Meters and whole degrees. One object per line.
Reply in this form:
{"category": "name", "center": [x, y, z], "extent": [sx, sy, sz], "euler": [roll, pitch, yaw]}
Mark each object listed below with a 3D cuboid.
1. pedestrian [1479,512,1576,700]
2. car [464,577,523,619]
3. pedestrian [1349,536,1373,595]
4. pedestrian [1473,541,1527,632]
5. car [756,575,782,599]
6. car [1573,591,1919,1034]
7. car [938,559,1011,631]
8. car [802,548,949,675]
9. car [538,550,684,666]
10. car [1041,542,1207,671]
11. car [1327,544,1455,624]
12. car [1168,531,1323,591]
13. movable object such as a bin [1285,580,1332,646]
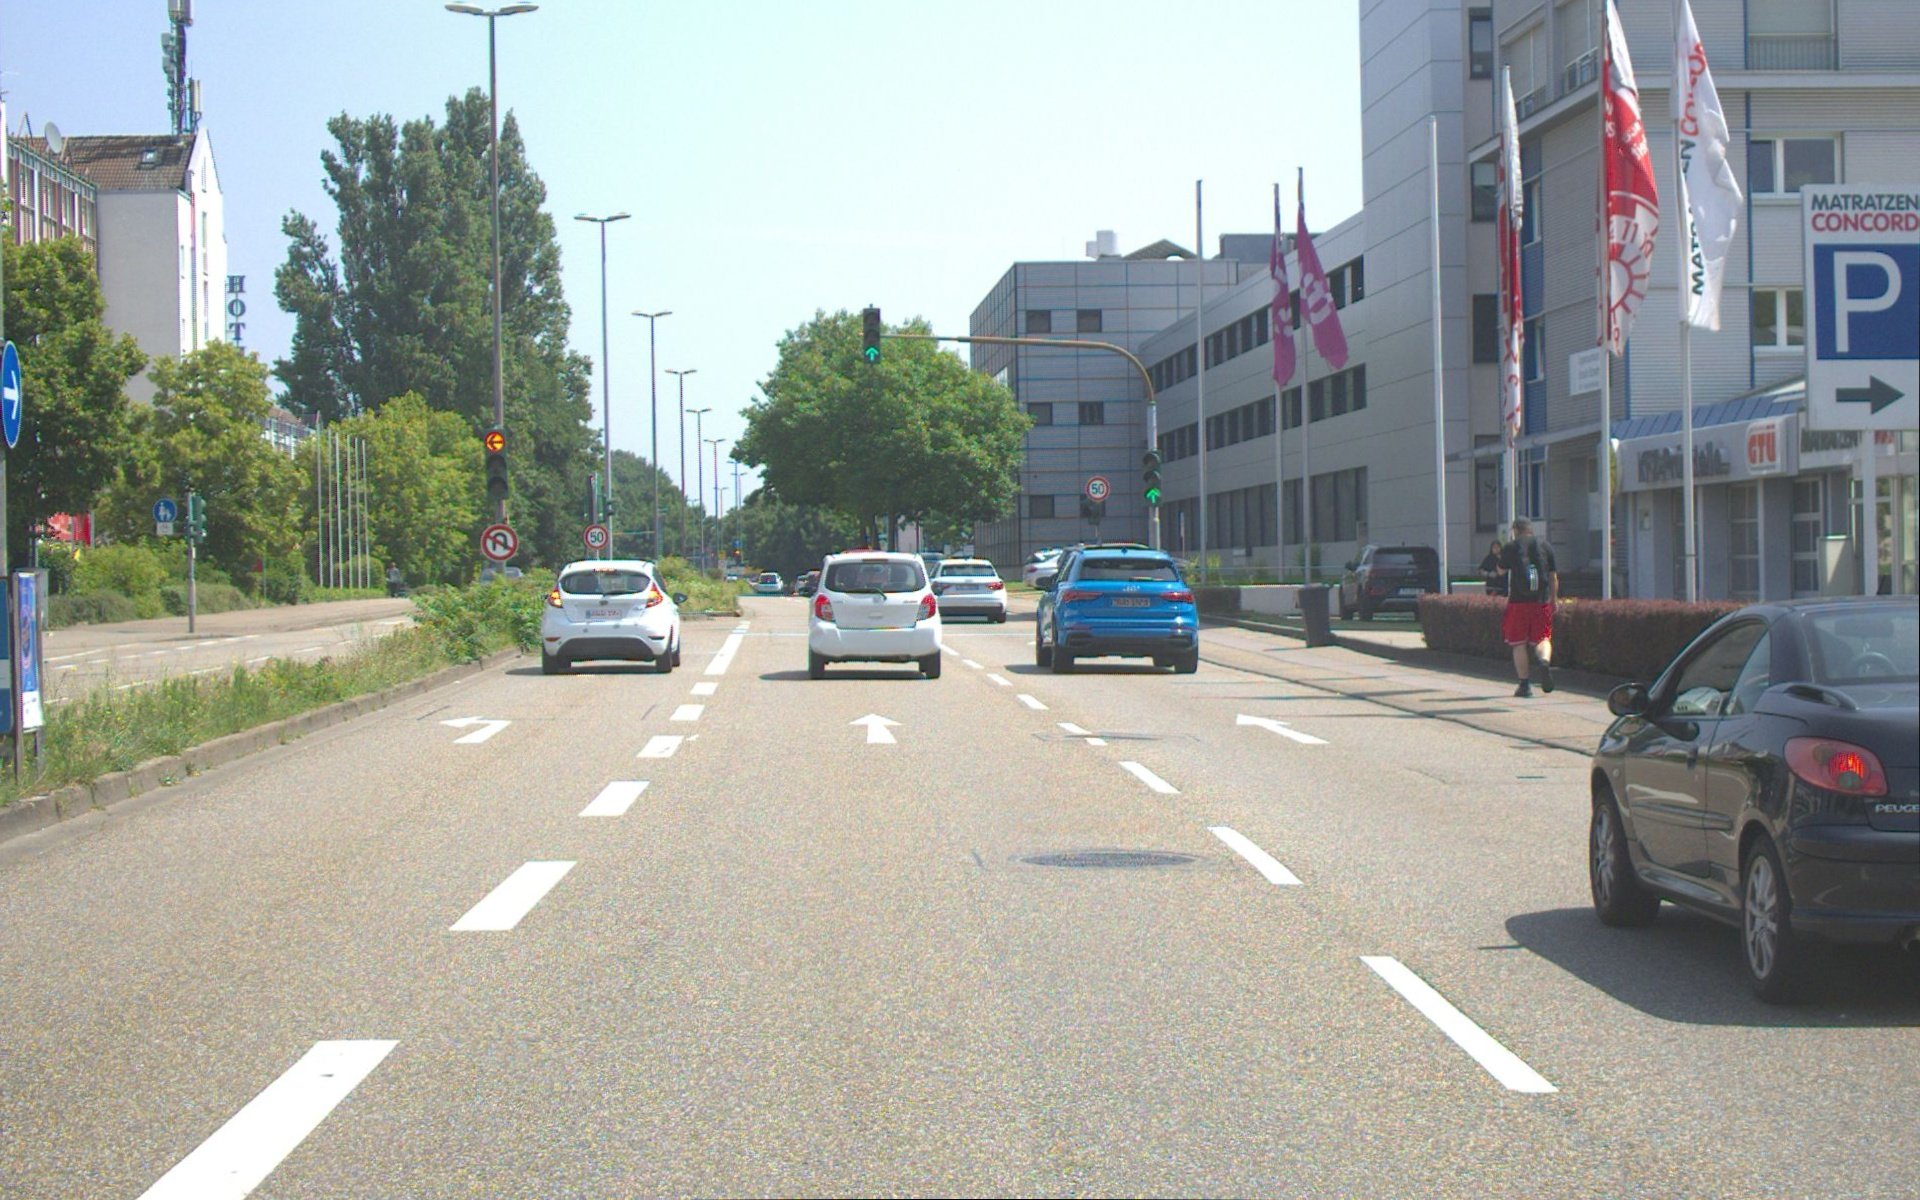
{"category": "pedestrian", "center": [5.688, 0.055, 34.494], "extent": [0.785, 1.840, 0.936], "euler": [-1, 1, 0]}
{"category": "car", "center": [-17.329, -0.099, 127.955], "extent": [1.993, 1.481, 4.502], "euler": [-1, 1, -6]}
{"category": "pedestrian", "center": [11.181, -0.962, 95.852], "extent": [0.593, 1.629, 0.523], "euler": [-1, 1, 6]}
{"category": "pedestrian", "center": [9.837, -0.252, 62.654], "extent": [0.810, 1.621, 0.853], "euler": [-1, 1, 0]}
{"category": "car", "center": [-13.610, -0.944, 244.750], "extent": [1.819, 1.656, 4.001], "euler": [-1, 1, -4]}
{"category": "car", "center": [3.416, 0.668, 12.675], "extent": [1.627, 1.359, 3.605], "euler": [0, 1, -1]}
{"category": "car", "center": [0.308, -0.127, 76.408], "extent": [1.559, 1.515, 3.605], "euler": [-1, 1, 0]}
{"category": "car", "center": [-1.058, 0.114, 42.883], "extent": [1.748, 1.515, 3.746], "euler": [0, 1, -2]}
{"category": "car", "center": [-4.564, 0.075, 45.298], "extent": [1.688, 1.429, 3.712], "euler": [-1, 1, -3]}
{"category": "car", "center": [2.084, 0.059, 44.536], "extent": [1.827, 1.575, 3.606], "euler": [-1, 1, -2]}
{"category": "car", "center": [8.607, -0.334, 68.962], "extent": [1.844, 1.526, 4.197], "euler": [1, 1, -3]}
{"category": "car", "center": [8.526, -1.178, 102.913], "extent": [4.258, 1.683, 2.000], "euler": [-1, 1, -7]}
{"category": "movable object such as a bin", "center": [5.134, 0.189, 50.698], "extent": [0.551, 0.916, 0.653], "euler": [-4, 1, -2]}
